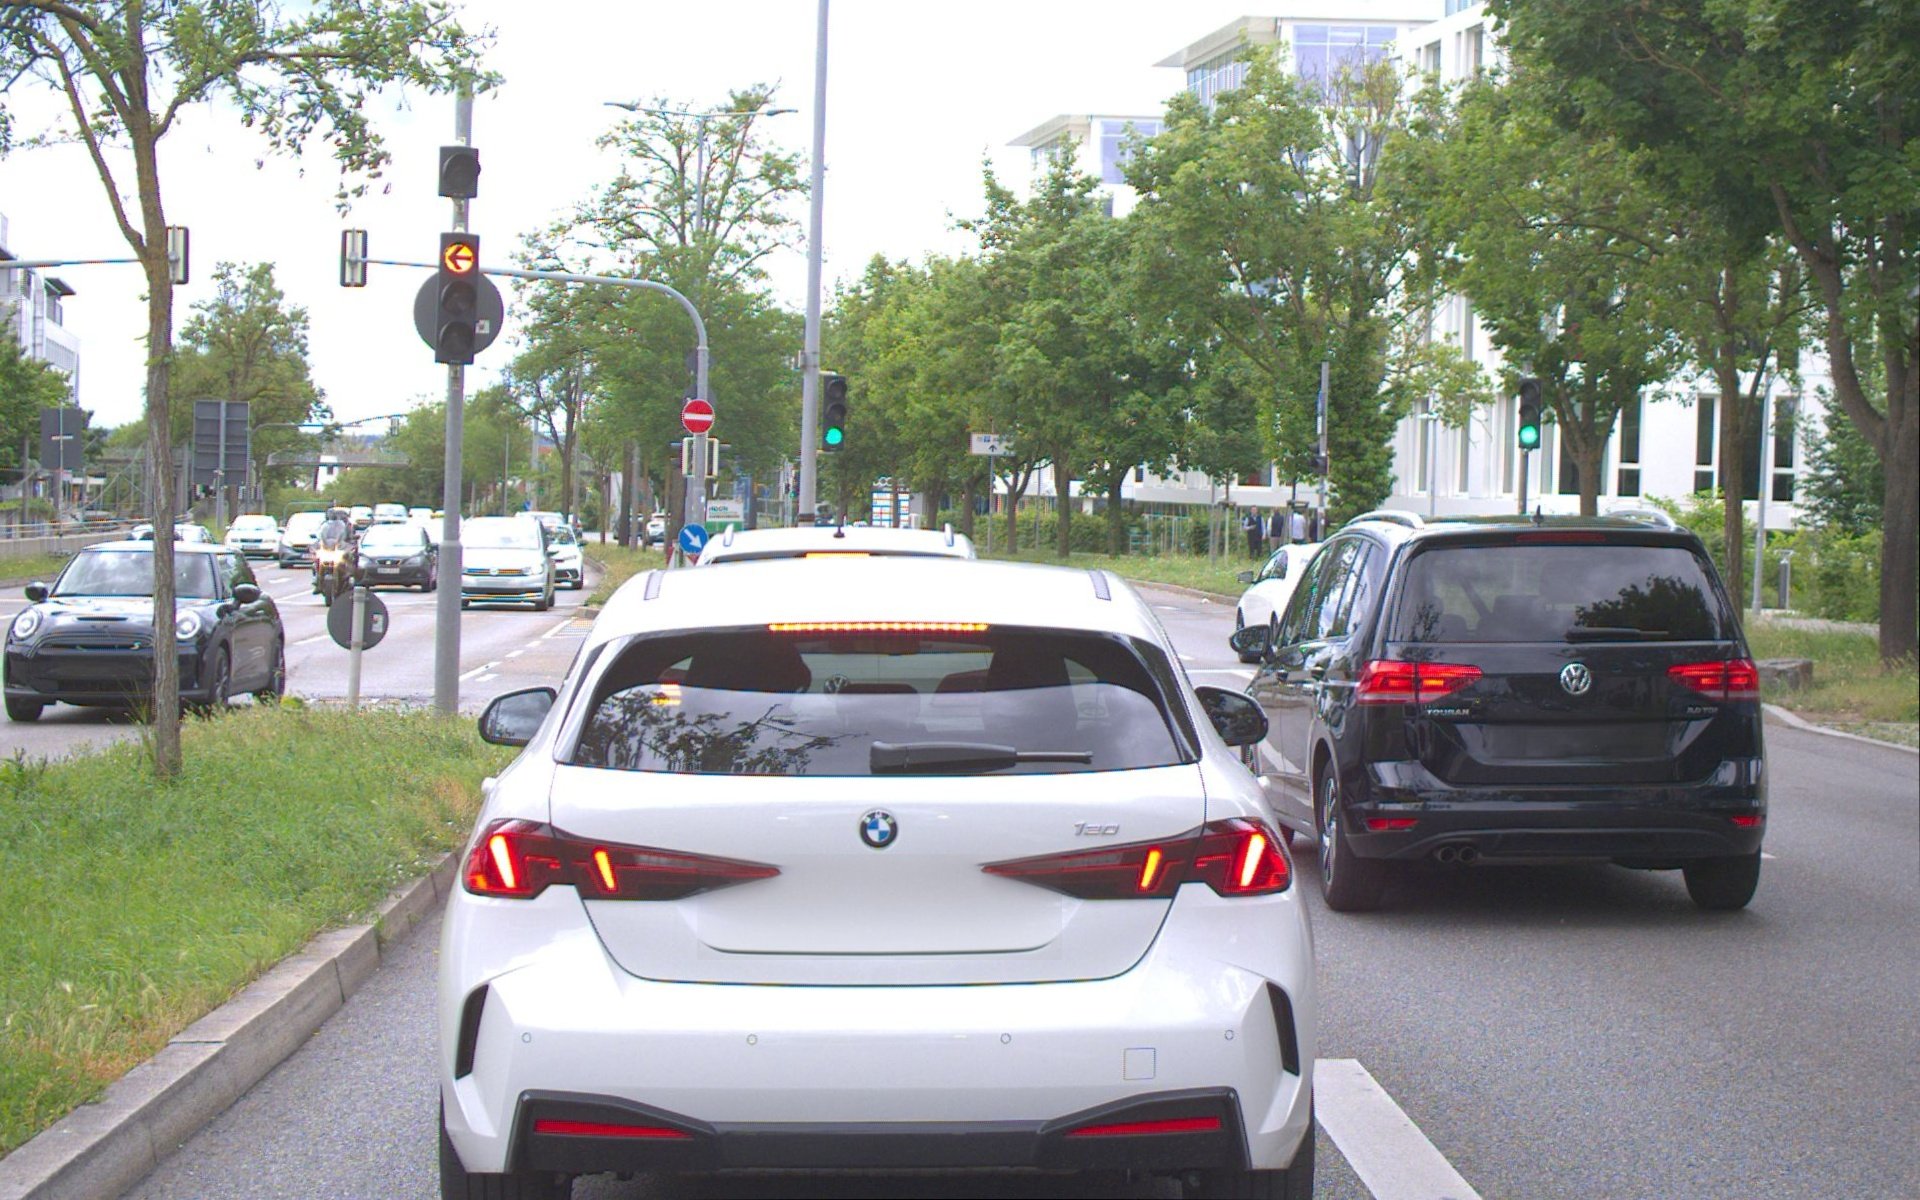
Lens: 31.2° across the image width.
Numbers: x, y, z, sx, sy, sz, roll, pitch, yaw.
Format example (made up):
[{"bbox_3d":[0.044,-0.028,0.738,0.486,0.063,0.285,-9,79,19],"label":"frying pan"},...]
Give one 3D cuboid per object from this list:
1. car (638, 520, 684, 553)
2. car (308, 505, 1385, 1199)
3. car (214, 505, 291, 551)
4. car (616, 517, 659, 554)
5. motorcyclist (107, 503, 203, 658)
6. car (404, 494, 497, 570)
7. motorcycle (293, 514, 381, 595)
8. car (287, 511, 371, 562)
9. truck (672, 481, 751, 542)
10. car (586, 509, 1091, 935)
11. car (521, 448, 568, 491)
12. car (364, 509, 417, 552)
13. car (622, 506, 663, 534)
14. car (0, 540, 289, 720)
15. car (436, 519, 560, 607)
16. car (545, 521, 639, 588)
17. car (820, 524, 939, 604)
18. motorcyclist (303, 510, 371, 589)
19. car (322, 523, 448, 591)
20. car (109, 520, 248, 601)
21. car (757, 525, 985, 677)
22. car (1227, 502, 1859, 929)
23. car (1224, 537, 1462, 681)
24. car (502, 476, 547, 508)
[{"bbox_3d":[-14.302,-3.054,164.282,1.993,1.503,4.001,1,1,-8],"label":"car"},{"bbox_3d":[-0.144,0.556,8.026,1.863,1.444,4.000,1,1,2],"label":"car"},{"bbox_3d":[-22.523,-2.294,109.608,1.708,1.414,3.803,0,1,-1],"label":"car"},{"bbox_3d":[-18.020,-3.611,192.177,1.993,2.007,4.000,1,1,-1],"label":"car"},{"bbox_3d":[-9.734,-0.249,41.612,0.848,1.830,1.259,1,1,-1],"label":"motorcyclist"},{"bbox_3d":[-13.915,-1.866,94.086,1.993,2.007,4.000,1,1,-1],"label":"car"},{"bbox_3d":[-11.207,-0.826,61.985,0.889,1.393,4.000,1,1,-1],"label":"motorcycle"},{"bbox_3d":[-17.767,-1.786,96.866,1.708,1.414,3.803,0,1,-1],"label":"car"},{"bbox_3d":[-10.692,-3.765,147.414,2.858,2.511,6.289,1,1,-8],"label":"truck"},{"bbox_3d":[-0.483,0.468,15.843,1.993,1.666,4.000,1,1,0],"label":"car"},{"bbox_3d":[-21.053,-6.607,174.154,1.993,2.004,4.325,3,1,-3],"label":"car"},{"bbox_3d":[-27.173,-3.328,164.079,1.993,2.004,4.325,1,1,-3],"label":"car"},{"bbox_3d":[-17.815,-4.510,193.060,1.993,1.503,4.001,1,1,-9],"label":"car"},{"bbox_3d":[-6.766,0.199,28.391,1.754,1.366,3.780,0,1,-1],"label":"car"},{"bbox_3d":[-8.090,-0.674,60.476,1.708,1.492,3.803,0,1,-1],"label":"car"},{"bbox_3d":[-8.067,-1.015,75.629,1.667,1.400,4.000,1,1,-1],"label":"car"},{"bbox_3d":[-1.700,-0.773,71.021,2.053,1.481,4.974,-2,2,-6],"label":"car"},{"bbox_3d":[-11.206,-0.909,61.843,0.910,1.387,1.674,1,1,-1],"label":"motorcyclist"},{"bbox_3d":[-12.061,-0.922,72.354,1.993,1.349,4.000,1,1,-1],"label":"car"},{"bbox_3d":[-14.174,-0.738,62.546,1.708,1.414,3.803,0,1,-1],"label":"car"},{"bbox_3d":[-0.899,-0.013,37.175,1.994,1.503,3.999,1,1,5],"label":"car"},{"bbox_3d":[2.403,0.400,15.325,1.966,1.635,4.313,0,1,-2],"label":"car"},{"bbox_3d":[4.215,0.066,38.529,1.793,1.467,4.700,1,1,-4],"label":"car"},{"bbox_3d":[-24.214,-6.000,191.283,1.993,1.612,4.000,3,1,-1],"label":"car"}]
